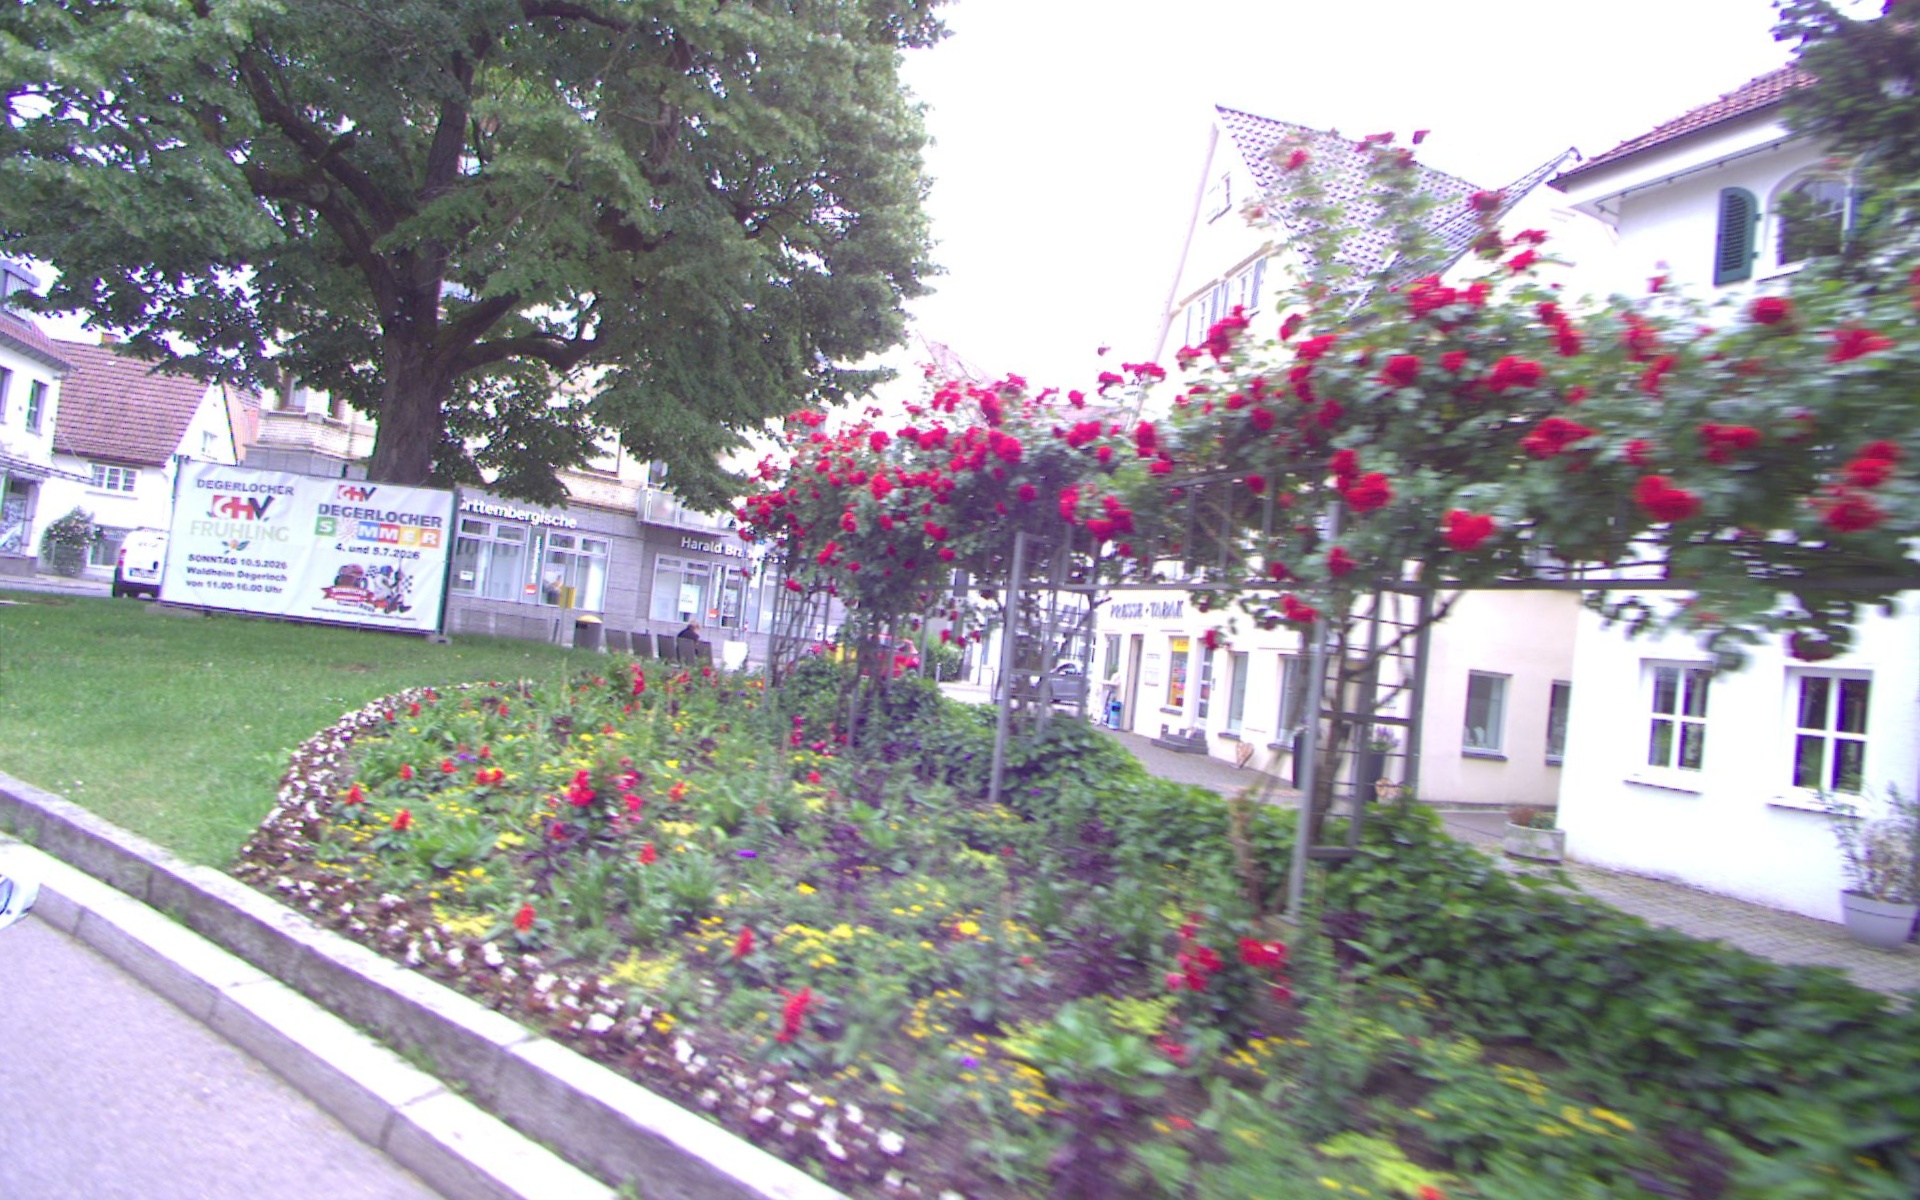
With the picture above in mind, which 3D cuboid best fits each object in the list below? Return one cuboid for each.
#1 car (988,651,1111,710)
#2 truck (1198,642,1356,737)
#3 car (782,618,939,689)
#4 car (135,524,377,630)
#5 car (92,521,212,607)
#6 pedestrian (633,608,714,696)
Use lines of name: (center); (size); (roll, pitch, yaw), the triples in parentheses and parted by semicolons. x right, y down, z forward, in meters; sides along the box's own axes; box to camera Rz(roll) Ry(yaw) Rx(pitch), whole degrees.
car: (3.068, 2.742, 34.062); (3.981, 1.533, 1.763); (9, -2, -41)
truck: (11.521, 3.259, 36.442); (5.257, 2.720, 2.813); (10, -4, -39)
car: (-3.065, 1.693, 31.531); (4.359, 1.563, 2.099); (11, -4, -42)
car: (-15.933, -0.473, 22.966); (3.950, 1.721, 1.865); (7, -4, -4)
car: (-20.847, -0.876, 26.119); (1.815, 1.812, 4.184); (9, -4, -33)
pedestrian: (-5.119, 0.931, 17.972); (0.961, 1.396, 0.854); (6, -3, 40)
